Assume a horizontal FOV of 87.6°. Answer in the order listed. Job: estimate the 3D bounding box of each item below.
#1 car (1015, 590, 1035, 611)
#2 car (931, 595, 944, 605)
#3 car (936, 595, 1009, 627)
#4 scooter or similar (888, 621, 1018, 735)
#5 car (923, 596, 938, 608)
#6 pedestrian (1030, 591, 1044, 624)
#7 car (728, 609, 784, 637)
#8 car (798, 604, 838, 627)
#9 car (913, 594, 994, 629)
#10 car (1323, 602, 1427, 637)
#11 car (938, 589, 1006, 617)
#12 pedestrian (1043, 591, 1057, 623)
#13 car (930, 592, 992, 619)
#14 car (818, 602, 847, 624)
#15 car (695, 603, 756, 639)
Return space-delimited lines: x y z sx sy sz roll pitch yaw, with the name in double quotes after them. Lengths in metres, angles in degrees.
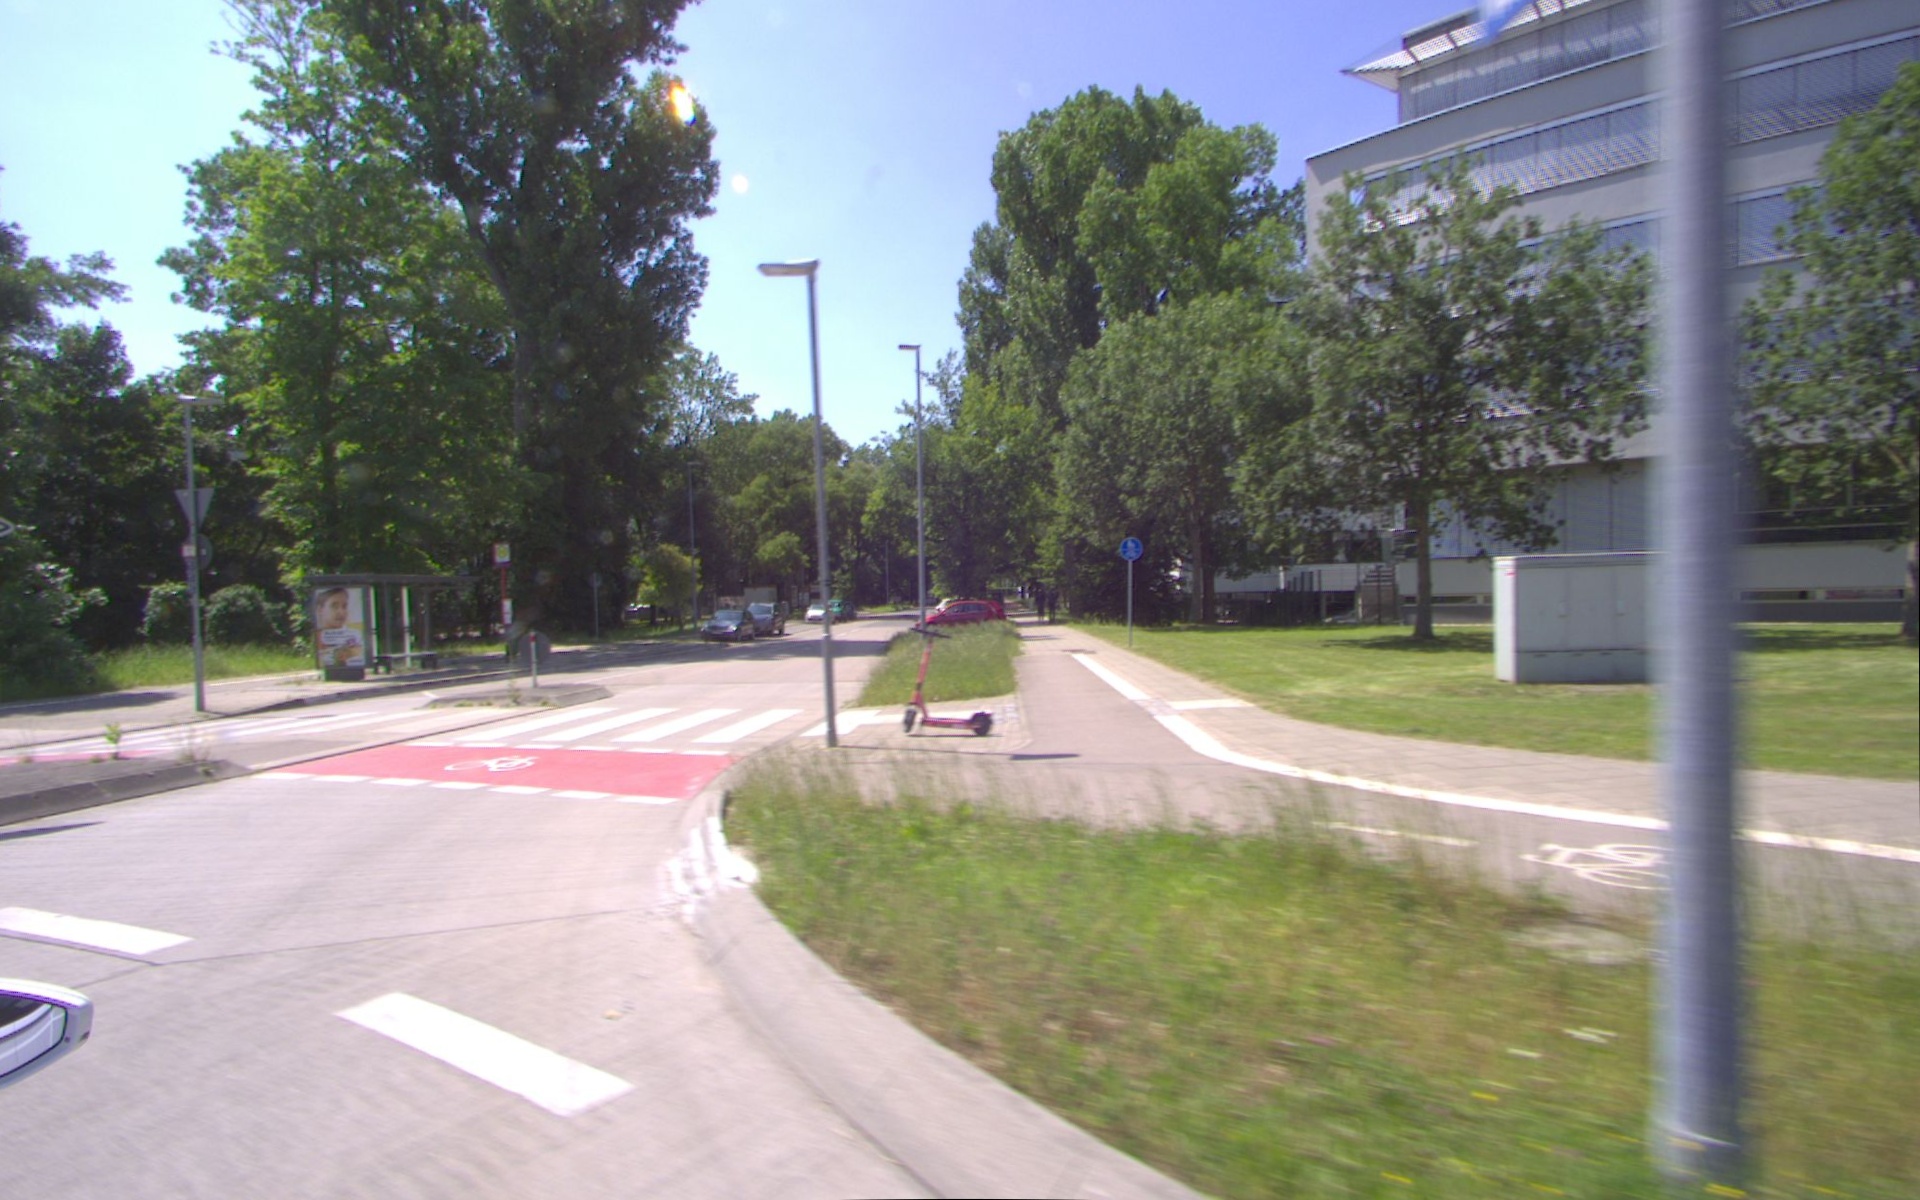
5.574 0.044 85.951 1.660 1.750 4.000 -2 0 3 "car"
-4.147 0.044 186.965 1.881 1.706 4.000 -2 0 5 "car"
0.615 0.573 51.576 3.613 1.502 1.869 -2 0 -2 "car"
-0.084 0.861 11.222 1.376 1.217 0.446 -2 0 25 "scooter or similar"
-4.434 0.325 150.969 1.881 1.706 4.000 -2 0 4 "car"
3.897 0.378 50.550 0.562 1.629 0.643 -1 0 17 "pedestrian"
-10.487 1.179 51.658 1.961 1.327 4.000 -2 -1 1 "car"
-10.022 1.082 70.927 1.961 1.489 4.000 -2 -1 4 "car"
-0.326 0.543 46.390 3.613 1.502 1.869 -2 0 -2 "car"
20.340 0.953 49.202 4.272 1.589 1.854 -2 0 2 "car"
0.971 0.277 78.228 5.211 2.011 1.760 -2 0 2 "car"
4.526 0.356 50.612 0.577 1.638 0.485 -1 0 17 "pedestrian"
0.078 0.363 61.636 3.712 1.537 1.813 -2 0 1 "car"
-9.563 0.986 75.296 1.702 1.564 3.445 -2 0 1 "car"
-10.644 0.933 45.722 1.670 1.505 4.000 1 0 2 "car"
